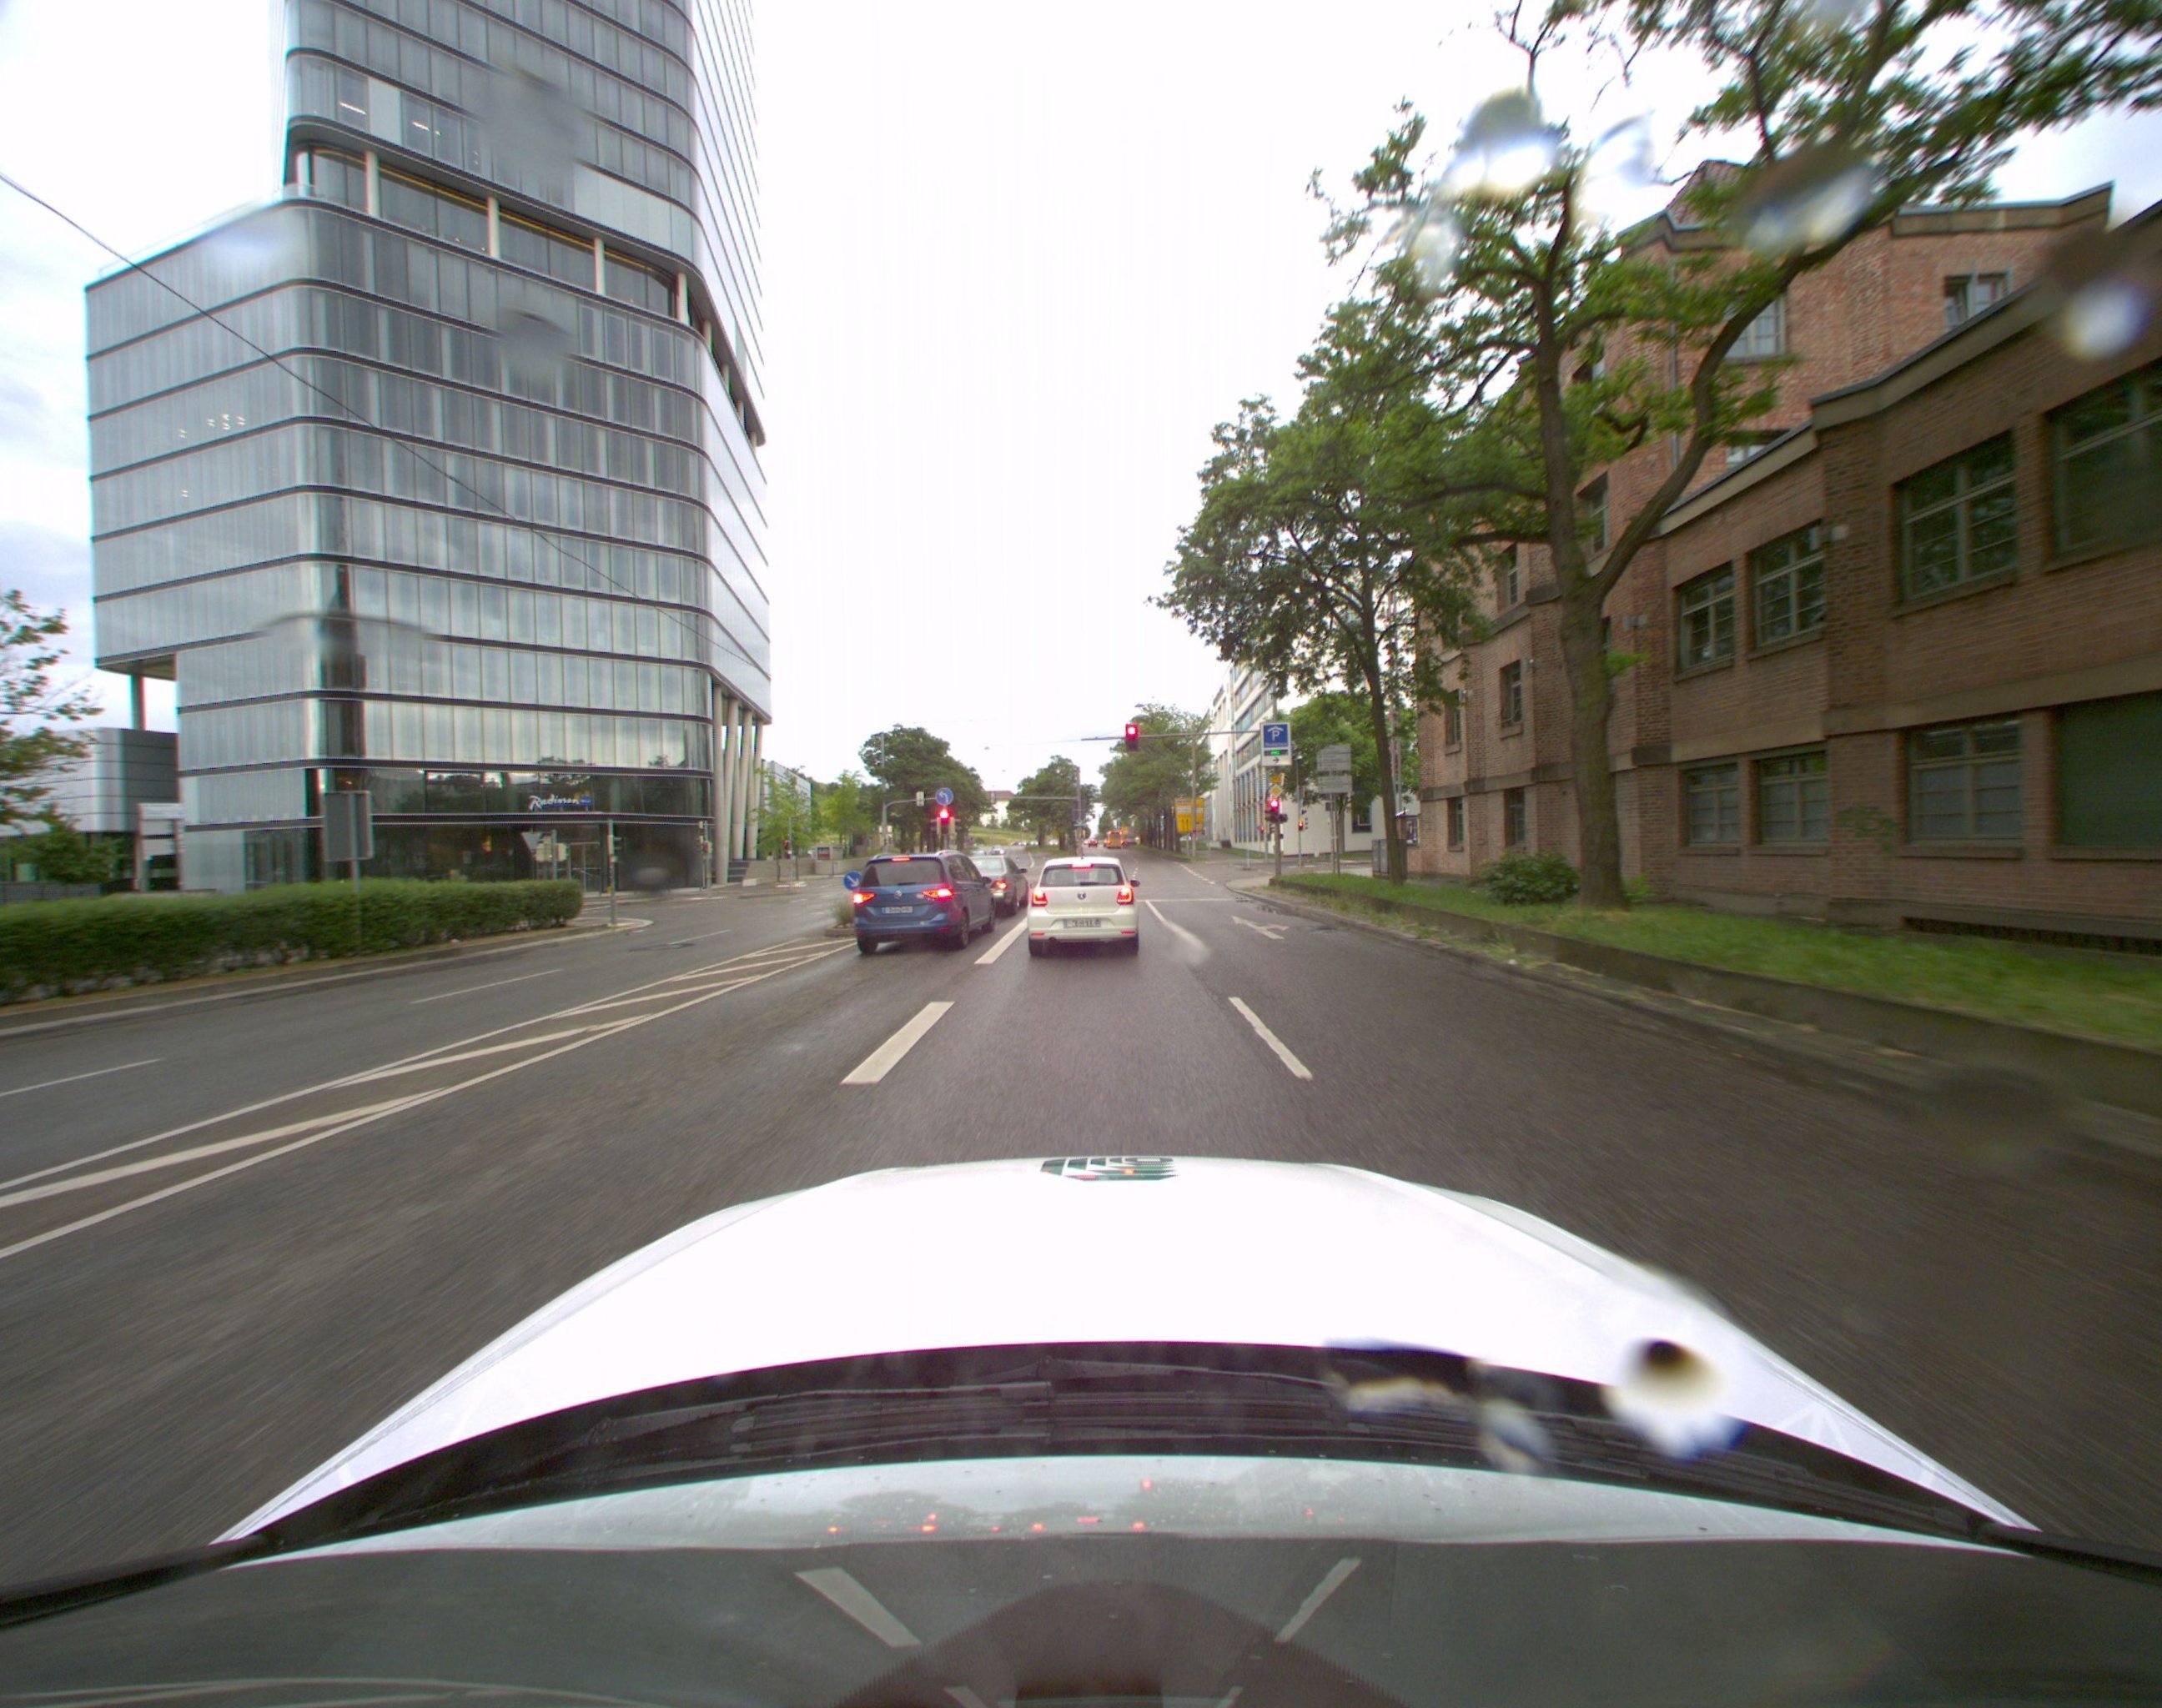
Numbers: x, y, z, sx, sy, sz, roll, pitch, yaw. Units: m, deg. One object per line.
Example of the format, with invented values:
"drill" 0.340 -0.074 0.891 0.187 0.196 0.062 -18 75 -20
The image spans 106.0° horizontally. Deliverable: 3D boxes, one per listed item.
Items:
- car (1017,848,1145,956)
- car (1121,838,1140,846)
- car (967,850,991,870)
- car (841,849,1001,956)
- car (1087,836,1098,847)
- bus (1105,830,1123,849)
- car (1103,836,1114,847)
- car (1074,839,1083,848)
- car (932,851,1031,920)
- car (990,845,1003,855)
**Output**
"car" 0.044 0.670 13.513 1.788 1.502 4.001 -1 0 1
"car" 9.840 -2.391 161.571 1.679 1.515 3.850 -2 0 45
"car" -8.719 0.462 69.843 1.746 1.520 3.813 -3 1 -3
"car" -2.695 0.739 14.749 1.765 1.596 4.201 -2 0 3
"car" 2.308 -2.416 162.024 1.987 2.013 3.999 -2 0 0
"bus" 5.975 -2.680 149.395 2.819 3.266 10.000 -1 1 0
"car" 5.406 -2.477 162.882 1.987 2.013 3.999 -2 0 0
"car" -0.515 -2.155 163.713 1.789 1.741 3.998 -3 1 -1
"car" -2.474 0.735 21.181 1.839 1.510 4.051 -3 0 3
"car" -13.477 -0.601 130.379 1.810 1.411 4.651 -3 1 -3
